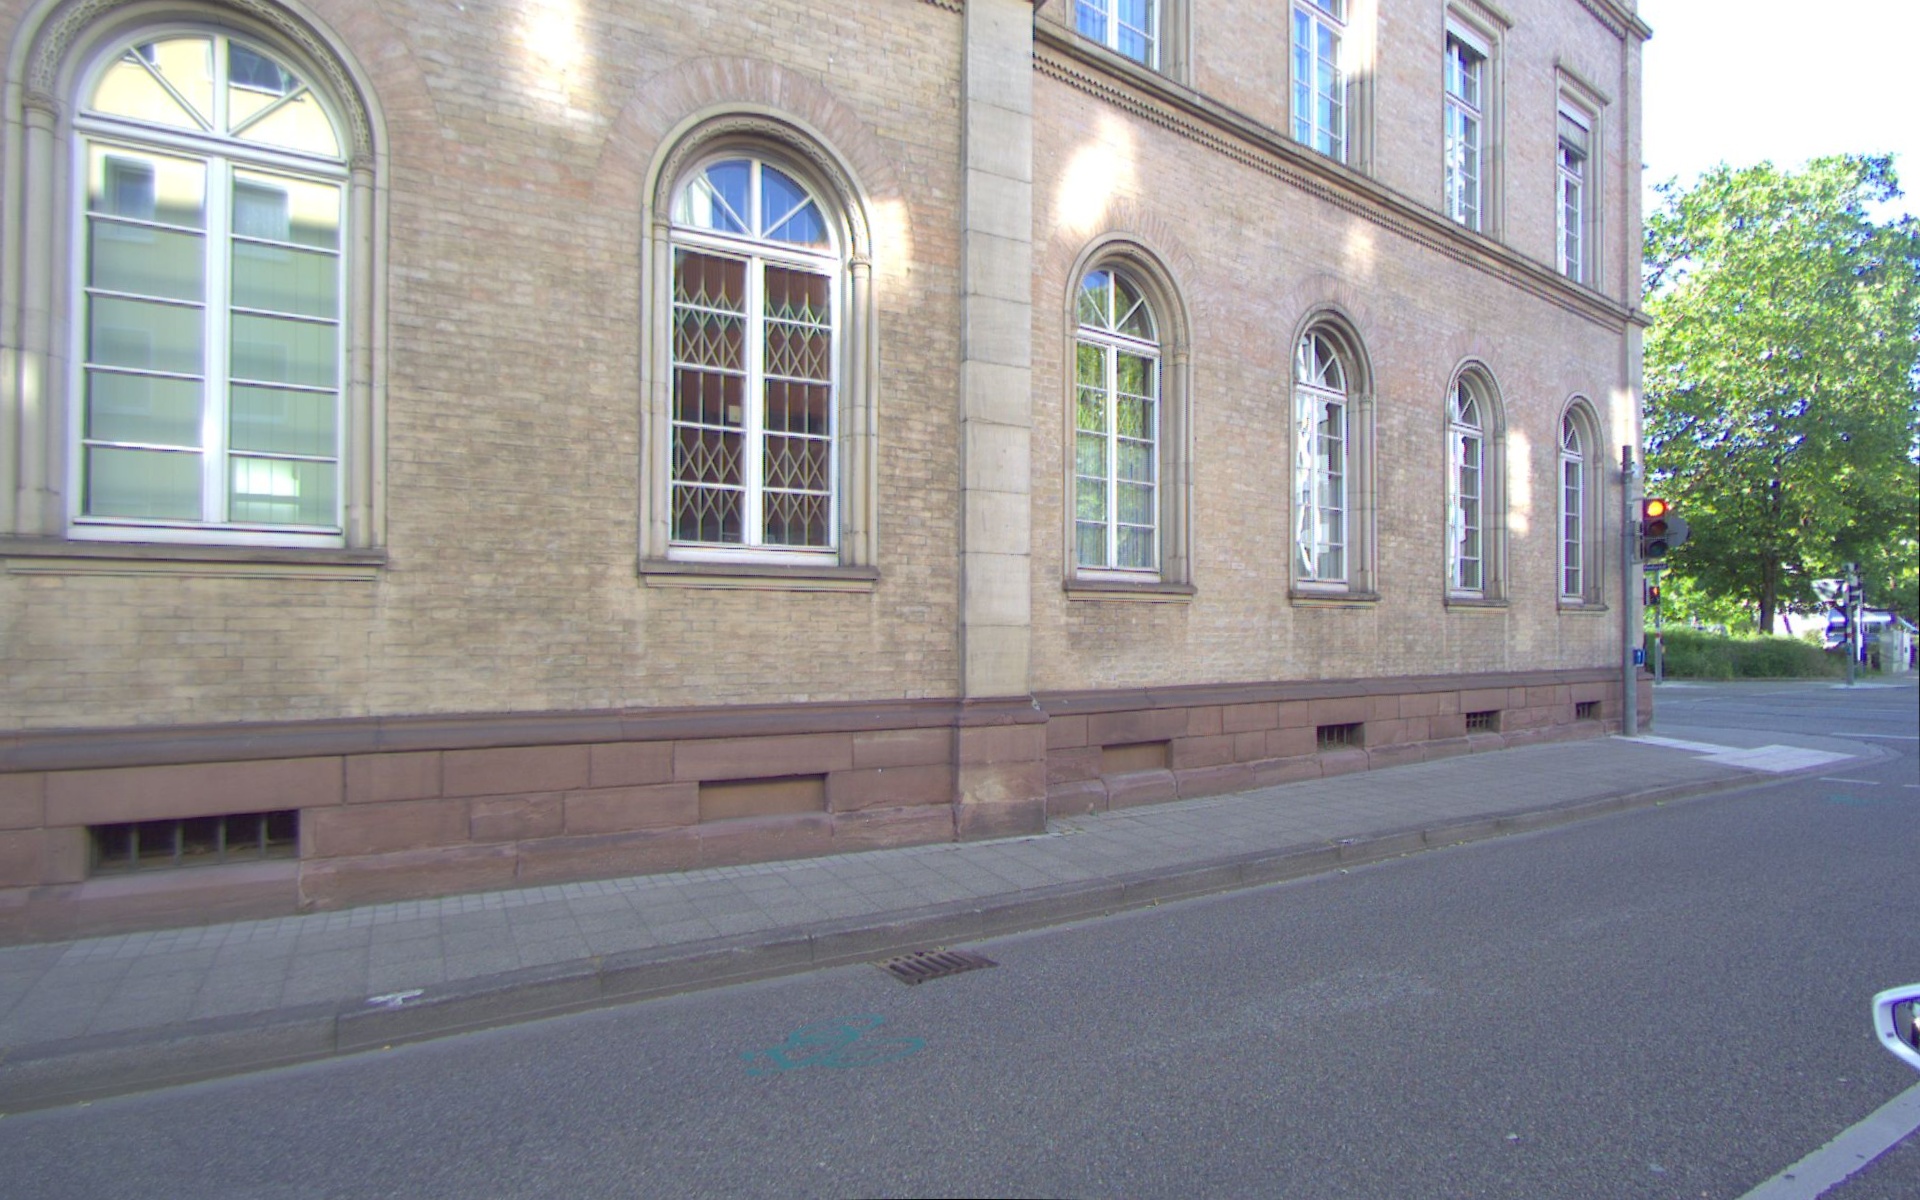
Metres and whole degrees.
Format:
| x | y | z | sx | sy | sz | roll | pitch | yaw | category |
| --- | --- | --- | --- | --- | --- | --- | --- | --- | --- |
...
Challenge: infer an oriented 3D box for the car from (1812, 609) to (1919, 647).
| x | y | z | sx | sy | sz | roll | pitch | yaw | category |
| --- | --- | --- | --- | --- | --- | --- | --- | --- | --- |
| 53.502 | 1.613 | 59.394 | 1.983 | 2.040 | 4.409 | 2 | 0 | -38 | car |

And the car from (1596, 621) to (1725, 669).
| x | y | z | sx | sy | sz | roll | pitch | yaw | category |
| --- | --- | --- | --- | --- | --- | --- | --- | --- | --- |
| 24.381 | 1.522 | 35.032 | 1.636 | 1.476 | 3.382 | 2 | 0 | -39 | car |
